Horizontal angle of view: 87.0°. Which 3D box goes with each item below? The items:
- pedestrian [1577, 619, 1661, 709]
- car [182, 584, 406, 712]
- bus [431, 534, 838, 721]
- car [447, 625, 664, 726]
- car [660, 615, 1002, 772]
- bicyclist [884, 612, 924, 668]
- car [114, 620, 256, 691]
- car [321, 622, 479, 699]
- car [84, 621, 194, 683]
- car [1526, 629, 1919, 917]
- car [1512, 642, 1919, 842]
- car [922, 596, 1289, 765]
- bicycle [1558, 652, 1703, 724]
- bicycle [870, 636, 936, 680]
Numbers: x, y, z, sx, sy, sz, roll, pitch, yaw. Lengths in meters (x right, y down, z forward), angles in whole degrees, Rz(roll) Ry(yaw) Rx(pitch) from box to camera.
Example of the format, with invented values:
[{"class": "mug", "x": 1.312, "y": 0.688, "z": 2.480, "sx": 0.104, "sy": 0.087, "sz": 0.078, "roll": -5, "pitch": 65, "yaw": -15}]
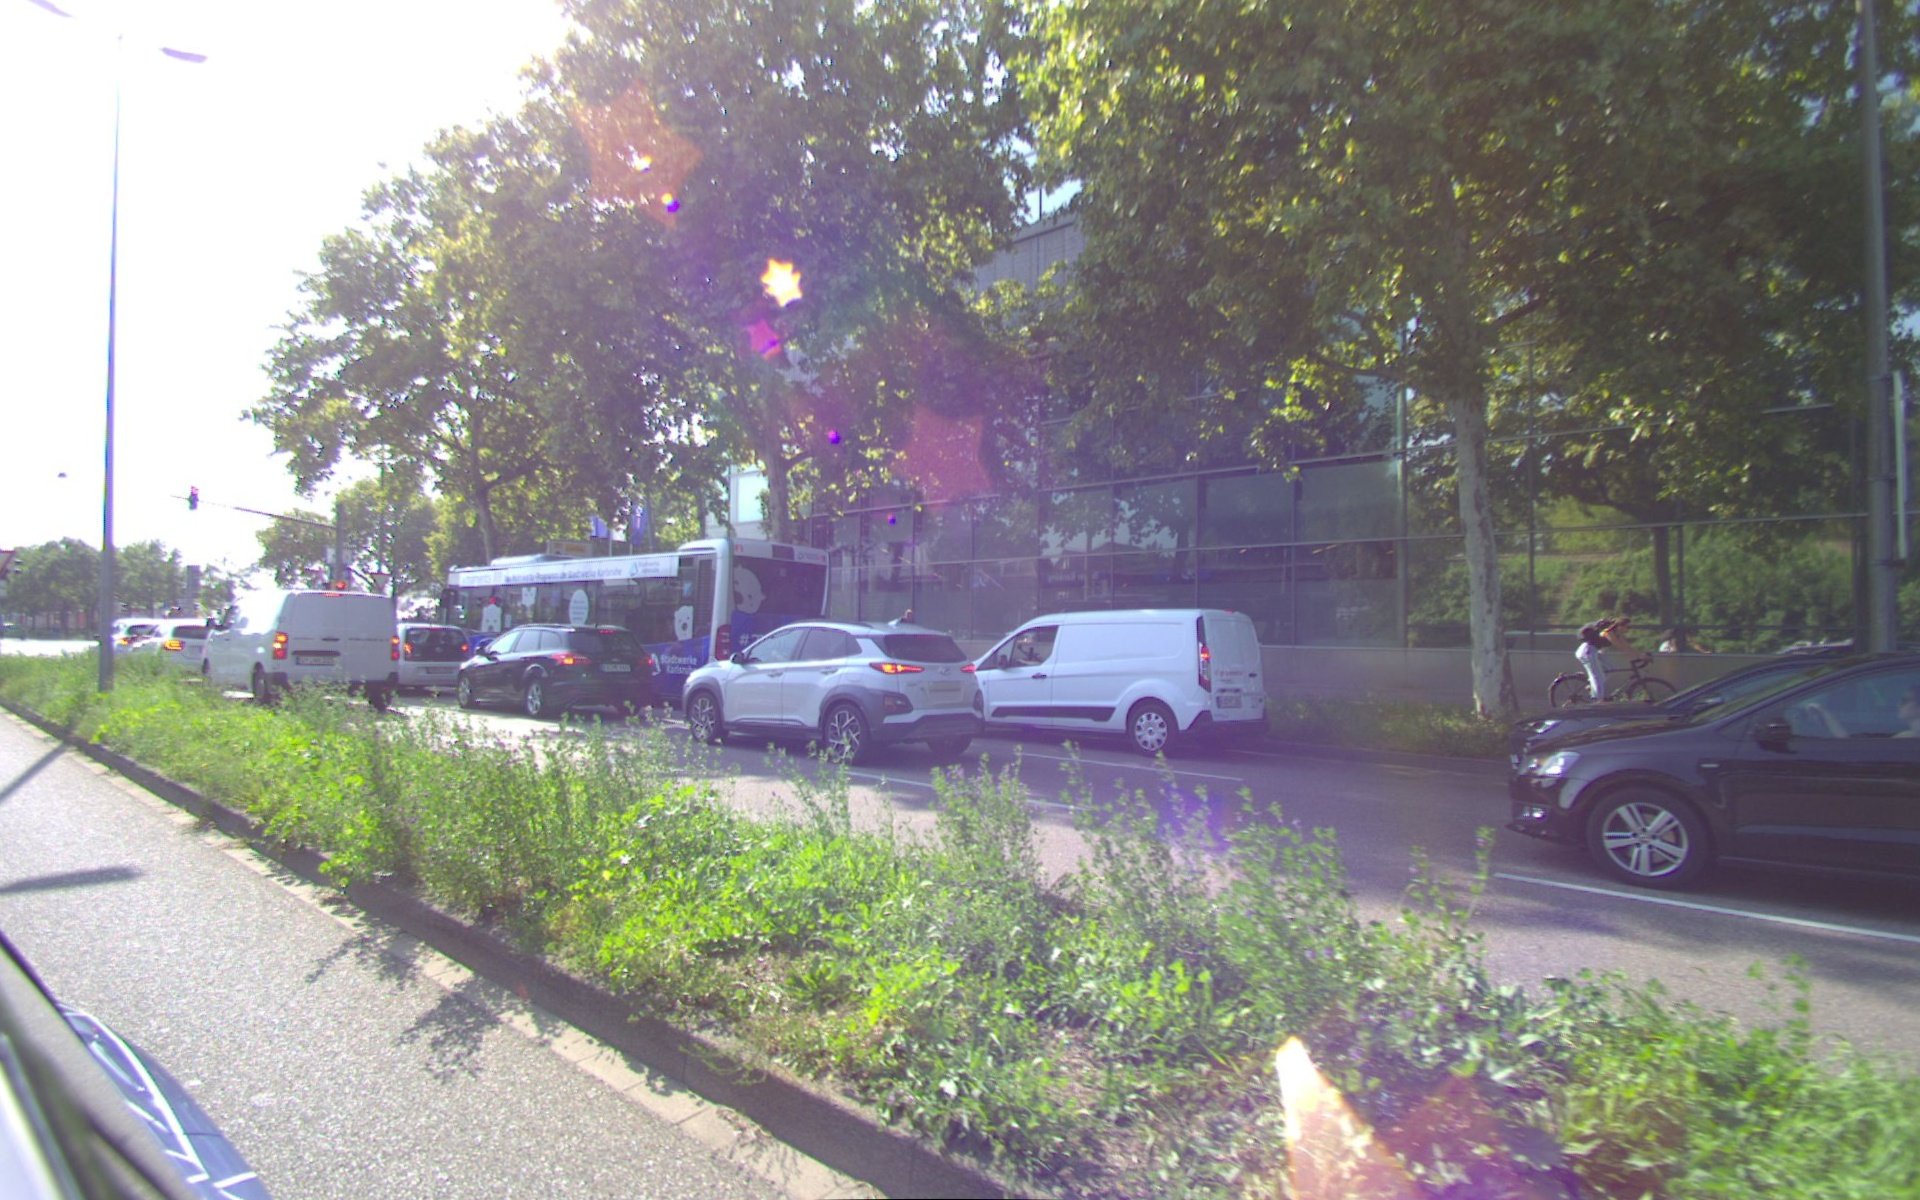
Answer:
[{"class": "pedestrian", "x": 10.352, "y": 0.990, "z": 15.908, "sx": 1.032, "sy": 1.360, "sz": 0.493, "roll": -1, "pitch": -2, "yaw": 41}, {"class": "car", "x": -11.440, "y": 0.812, "z": 17.233, "sx": 4.887, "sy": 1.878, "sz": 1.891, "roll": -2, "pitch": -4, "yaw": 41}, {"class": "bus", "x": -7.672, "y": 0.539, "z": 21.910, "sx": 12.309, "sy": 3.103, "sz": 2.562, "roll": -1, "pitch": -2, "yaw": 42}, {"class": "car", "x": -6.795, "y": 1.179, "z": 16.790, "sx": 4.188, "sy": 1.444, "sz": 1.629, "roll": -1, "pitch": -4, "yaw": 42}, {"class": "car", "x": -1.645, "y": 0.996, "z": 11.988, "sx": 4.138, "sy": 1.540, "sz": 1.677, "roll": -1, "pitch": -4, "yaw": 42}, {"class": "bicyclist", "x": -1.493, "y": 1.065, "z": 26.932, "sx": 0.839, "sy": 1.450, "sz": 0.641, "roll": -1, "pitch": -3, "yaw": 41}, {"class": "car", "x": -17.085, "y": 1.211, "z": 22.249, "sx": 4.082, "sy": 1.413, "sz": 1.691, "roll": -2, "pitch": -5, "yaw": 42}, {"class": "car", "x": -11.944, "y": 1.248, "z": 21.495, "sx": 3.820, "sy": 1.478, "sz": 1.688, "roll": -1, "pitch": -4, "yaw": 42}, {"class": "car", "x": -21.360, "y": 1.302, "z": 26.273, "sx": 4.000, "sy": 1.507, "sz": 1.625, "roll": -1, "pitch": -3, "yaw": 43}, {"class": "car", "x": 5.433, "y": 0.910, "z": 5.514, "sx": 3.857, "sy": 1.409, "sz": 1.597, "roll": -1, "pitch": -4, "yaw": 43}, {"class": "car", "x": 7.284, "y": 1.126, "z": 8.436, "sx": 4.478, "sy": 1.421, "sz": 1.629, "roll": -1, "pitch": -4, "yaw": 41}, {"class": "car", "x": 1.802, "y": 0.980, "z": 13.642, "sx": 4.747, "sy": 1.902, "sz": 1.685, "roll": -1, "pitch": -4, "yaw": 42}, {"class": "bicycle", "x": 10.443, "y": 1.342, "z": 15.814, "sx": 1.831, "sy": 1.016, "sz": 0.498, "roll": -1, "pitch": -2, "yaw": 41}, {"class": "bicycle", "x": -1.527, "y": 1.541, "z": 26.920, "sx": 1.799, "sy": 1.116, "sz": 0.641, "roll": -1, "pitch": -3, "yaw": 41}]
